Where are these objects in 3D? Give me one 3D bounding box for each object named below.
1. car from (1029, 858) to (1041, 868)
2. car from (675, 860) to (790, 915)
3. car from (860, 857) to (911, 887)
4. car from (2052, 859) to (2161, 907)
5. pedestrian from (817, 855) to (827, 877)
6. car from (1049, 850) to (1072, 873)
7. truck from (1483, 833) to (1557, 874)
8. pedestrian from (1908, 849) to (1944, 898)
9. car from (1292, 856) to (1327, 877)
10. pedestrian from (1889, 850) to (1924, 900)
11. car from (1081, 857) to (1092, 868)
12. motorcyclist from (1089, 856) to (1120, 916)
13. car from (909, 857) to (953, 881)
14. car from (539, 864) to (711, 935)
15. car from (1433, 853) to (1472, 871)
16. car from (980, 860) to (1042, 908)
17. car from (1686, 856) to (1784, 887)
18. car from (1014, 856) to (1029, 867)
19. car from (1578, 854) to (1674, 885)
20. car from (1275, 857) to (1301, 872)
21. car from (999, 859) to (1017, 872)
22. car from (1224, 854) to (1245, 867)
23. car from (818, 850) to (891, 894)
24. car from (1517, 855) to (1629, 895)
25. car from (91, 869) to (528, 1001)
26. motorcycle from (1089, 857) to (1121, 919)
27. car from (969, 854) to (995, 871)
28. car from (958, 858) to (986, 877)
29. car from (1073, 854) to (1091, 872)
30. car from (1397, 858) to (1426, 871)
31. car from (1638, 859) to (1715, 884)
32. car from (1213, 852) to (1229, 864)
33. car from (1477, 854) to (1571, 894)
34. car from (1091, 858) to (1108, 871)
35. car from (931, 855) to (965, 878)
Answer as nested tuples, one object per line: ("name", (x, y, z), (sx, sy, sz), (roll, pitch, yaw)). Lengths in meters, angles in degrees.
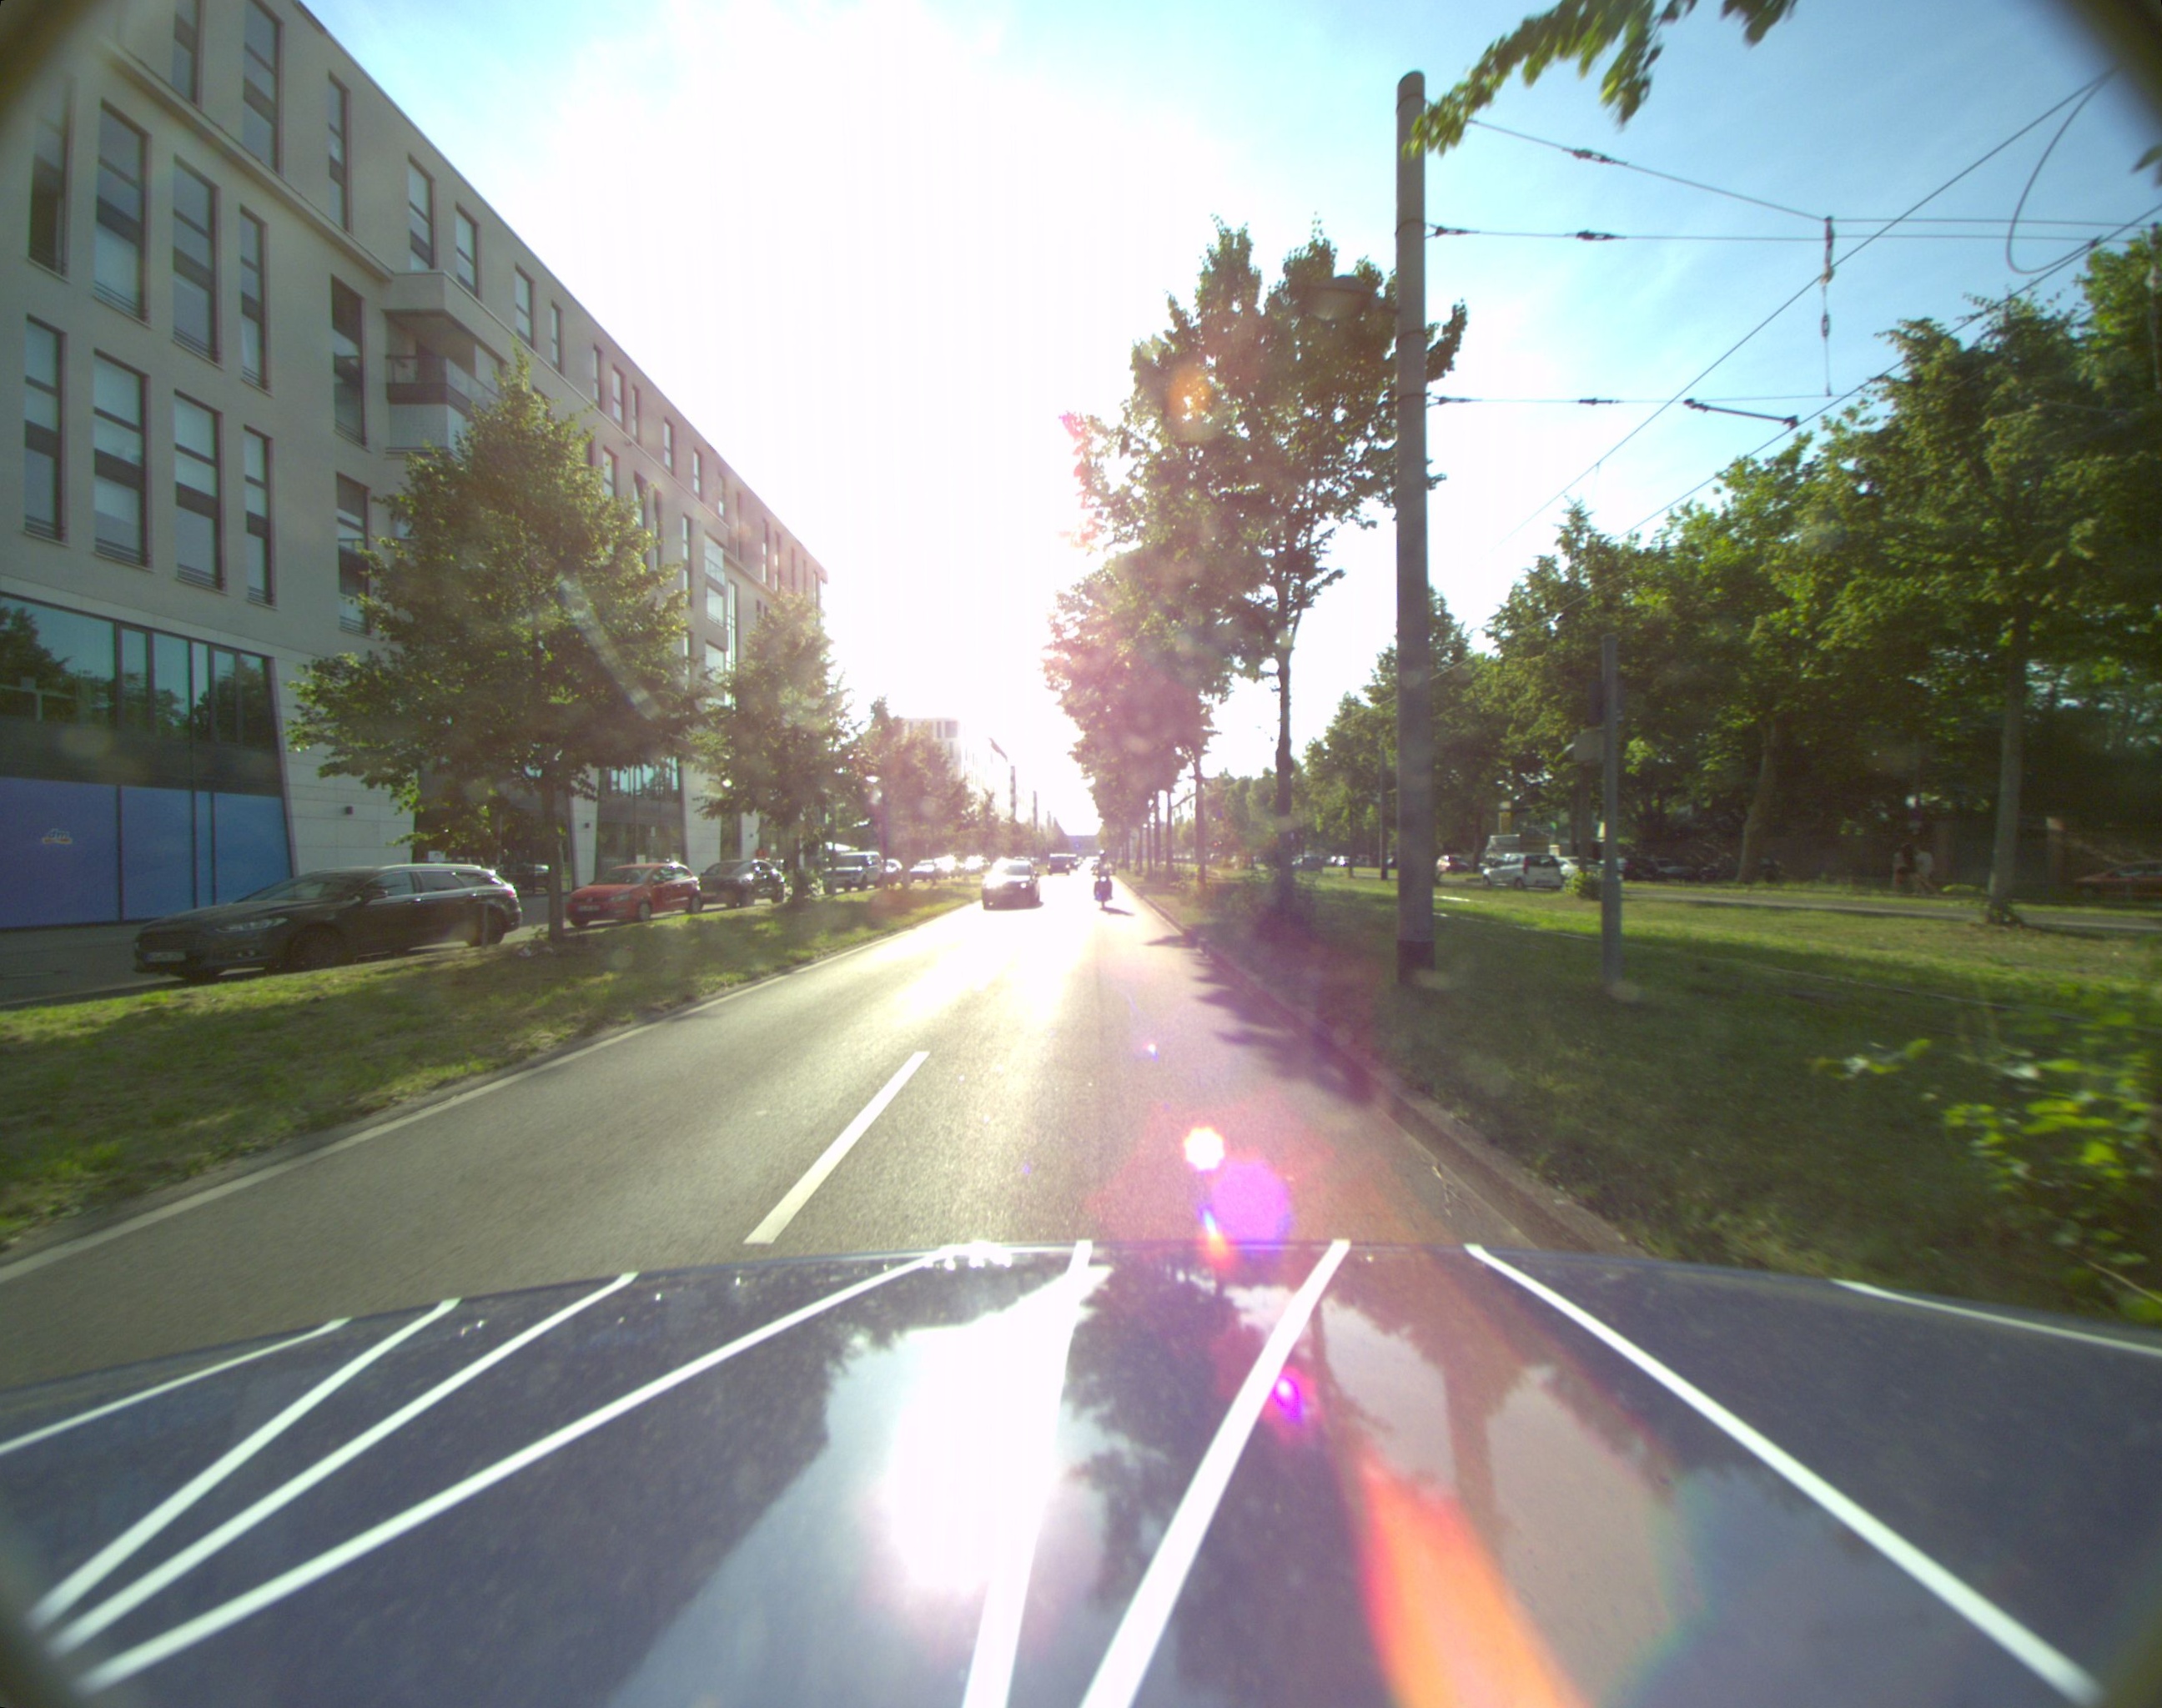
("car", (-8.729, 1.689, 144.579), (1.740, 1.777, 3.893), (-3, 1, 1))
("car", (-11.164, 1.022, 24.737), (1.873, 1.483, 4.413), (-3, 1, -4))
("car", (-10.857, 0.964, 42.452), (1.765, 1.479, 4.209), (-3, 1, -2))
("car", (36.282, 0.965, 25.791), (1.722, 1.434, 3.912), (-3, 1, 3))
("pedestrian", (-19.533, 0.921, 57.299), (0.499, 1.591, 0.572), (-3, 1, 1))
("car", (-1.794, 0.666, 69.032), (1.803, 1.880, 4.821), (-3, 1, 1))
("truck", (40.995, -0.110, 71.263), (2.895, 3.495, 7.946), (-3, 1, 6))
("pedestrian", (25.418, 0.577, 22.856), (0.387, 1.467, 0.602), (-3, 1, 1))
("car", (18.390, 0.964, 61.370), (1.614, 1.523, 4.132), (-3, 1, 1))
("pedestrian", (24.911, 0.625, 22.928), (0.387, 1.467, 0.602), (-3, 1, 1))
("car", (0.893, 1.371, 123.355), (1.740, 1.777, 3.894), (-3, 1, 2))
("motorcyclist", (0.683, 0.930, 22.366), (0.814, 1.699, 0.843), (-3, 1, 0))
("car", (-10.488, 1.010, 53.442), (1.764, 1.479, 4.920), (-3, 1, 4))
("car", (-11.191, 1.034, 19.031), (1.733, 1.424, 4.114), (-3, 1, 0))
("car", (29.939, 0.611, 61.322), (1.586, 1.269, 3.961), (-2, 1, 7))
("car", (-2.373, 0.998, 26.639), (1.698, 1.416, 4.039), (-3, 1, 1))
("car", (37.412, 0.960, 43.617), (1.834, 1.602, 4.475), (-3, 1, 2))
("car", (-9.154, 1.150, 116.659), (1.840, 1.521, 4.328), (-3, 1, 1))
("car", (28.162, 0.760, 39.439), (1.834, 1.423, 4.475), (-3, 1, 2))
("car", (21.506, 1.088, 79.068), (1.686, 1.427, 4.035), (-3, 1, 1))
("car", (-9.410, 1.445, 98.288), (1.840, 1.521, 4.328), (-3, 1, 1))
("car", (18.523, 0.803, 91.794), (1.686, 1.427, 4.671), (-3, 1, 1))
("car", (-10.772, 0.807, 36.541), (1.899, 1.863, 4.844), (-3, 1, 1))
("car", (20.737, 0.836, 32.308), (1.686, 1.467, 4.813), (1, 1, 1))
("car", (-11.212, 1.049, 11.705), (1.732, 1.424, 4.722), (-3, 1, 2))
("motorcycle", (0.675, 0.953, 22.465), (0.798, 1.659, 2.634), (-3, 1, 0))
("car", (-9.943, 0.825, 76.580), (1.840, 1.521, 4.328), (-3, 1, 1))
("car", (-10.041, 1.223, 70.214), (1.840, 1.521, 4.328), (-3, 1, 1))
("car", (0.137, 1.001, 90.926), (1.909, 2.002, 4.000), (-3, 1, 1))
("car", (31.257, 0.947, 71.982), (1.301, 1.101, 3.773), (-3, 1, 4))
("car", (37.657, 1.090, 48.219), (1.701, 1.367, 4.386), (-3, 0, 5))
("car", (21.817, 0.597, 118.503), (1.686, 1.853, 4.218), (-3, 1, 1))
("car", (17.360, 0.750, 29.977), (1.587, 1.385, 3.696), (-3, 1, 1))
("car", (2.118, 1.205, 88.448), (1.756, 1.427, 4.034), (-3, 1, -2))
("car", (-10.395, 0.968, 59.767), (1.764, 1.588, 4.328), (-3, 1, 1))
